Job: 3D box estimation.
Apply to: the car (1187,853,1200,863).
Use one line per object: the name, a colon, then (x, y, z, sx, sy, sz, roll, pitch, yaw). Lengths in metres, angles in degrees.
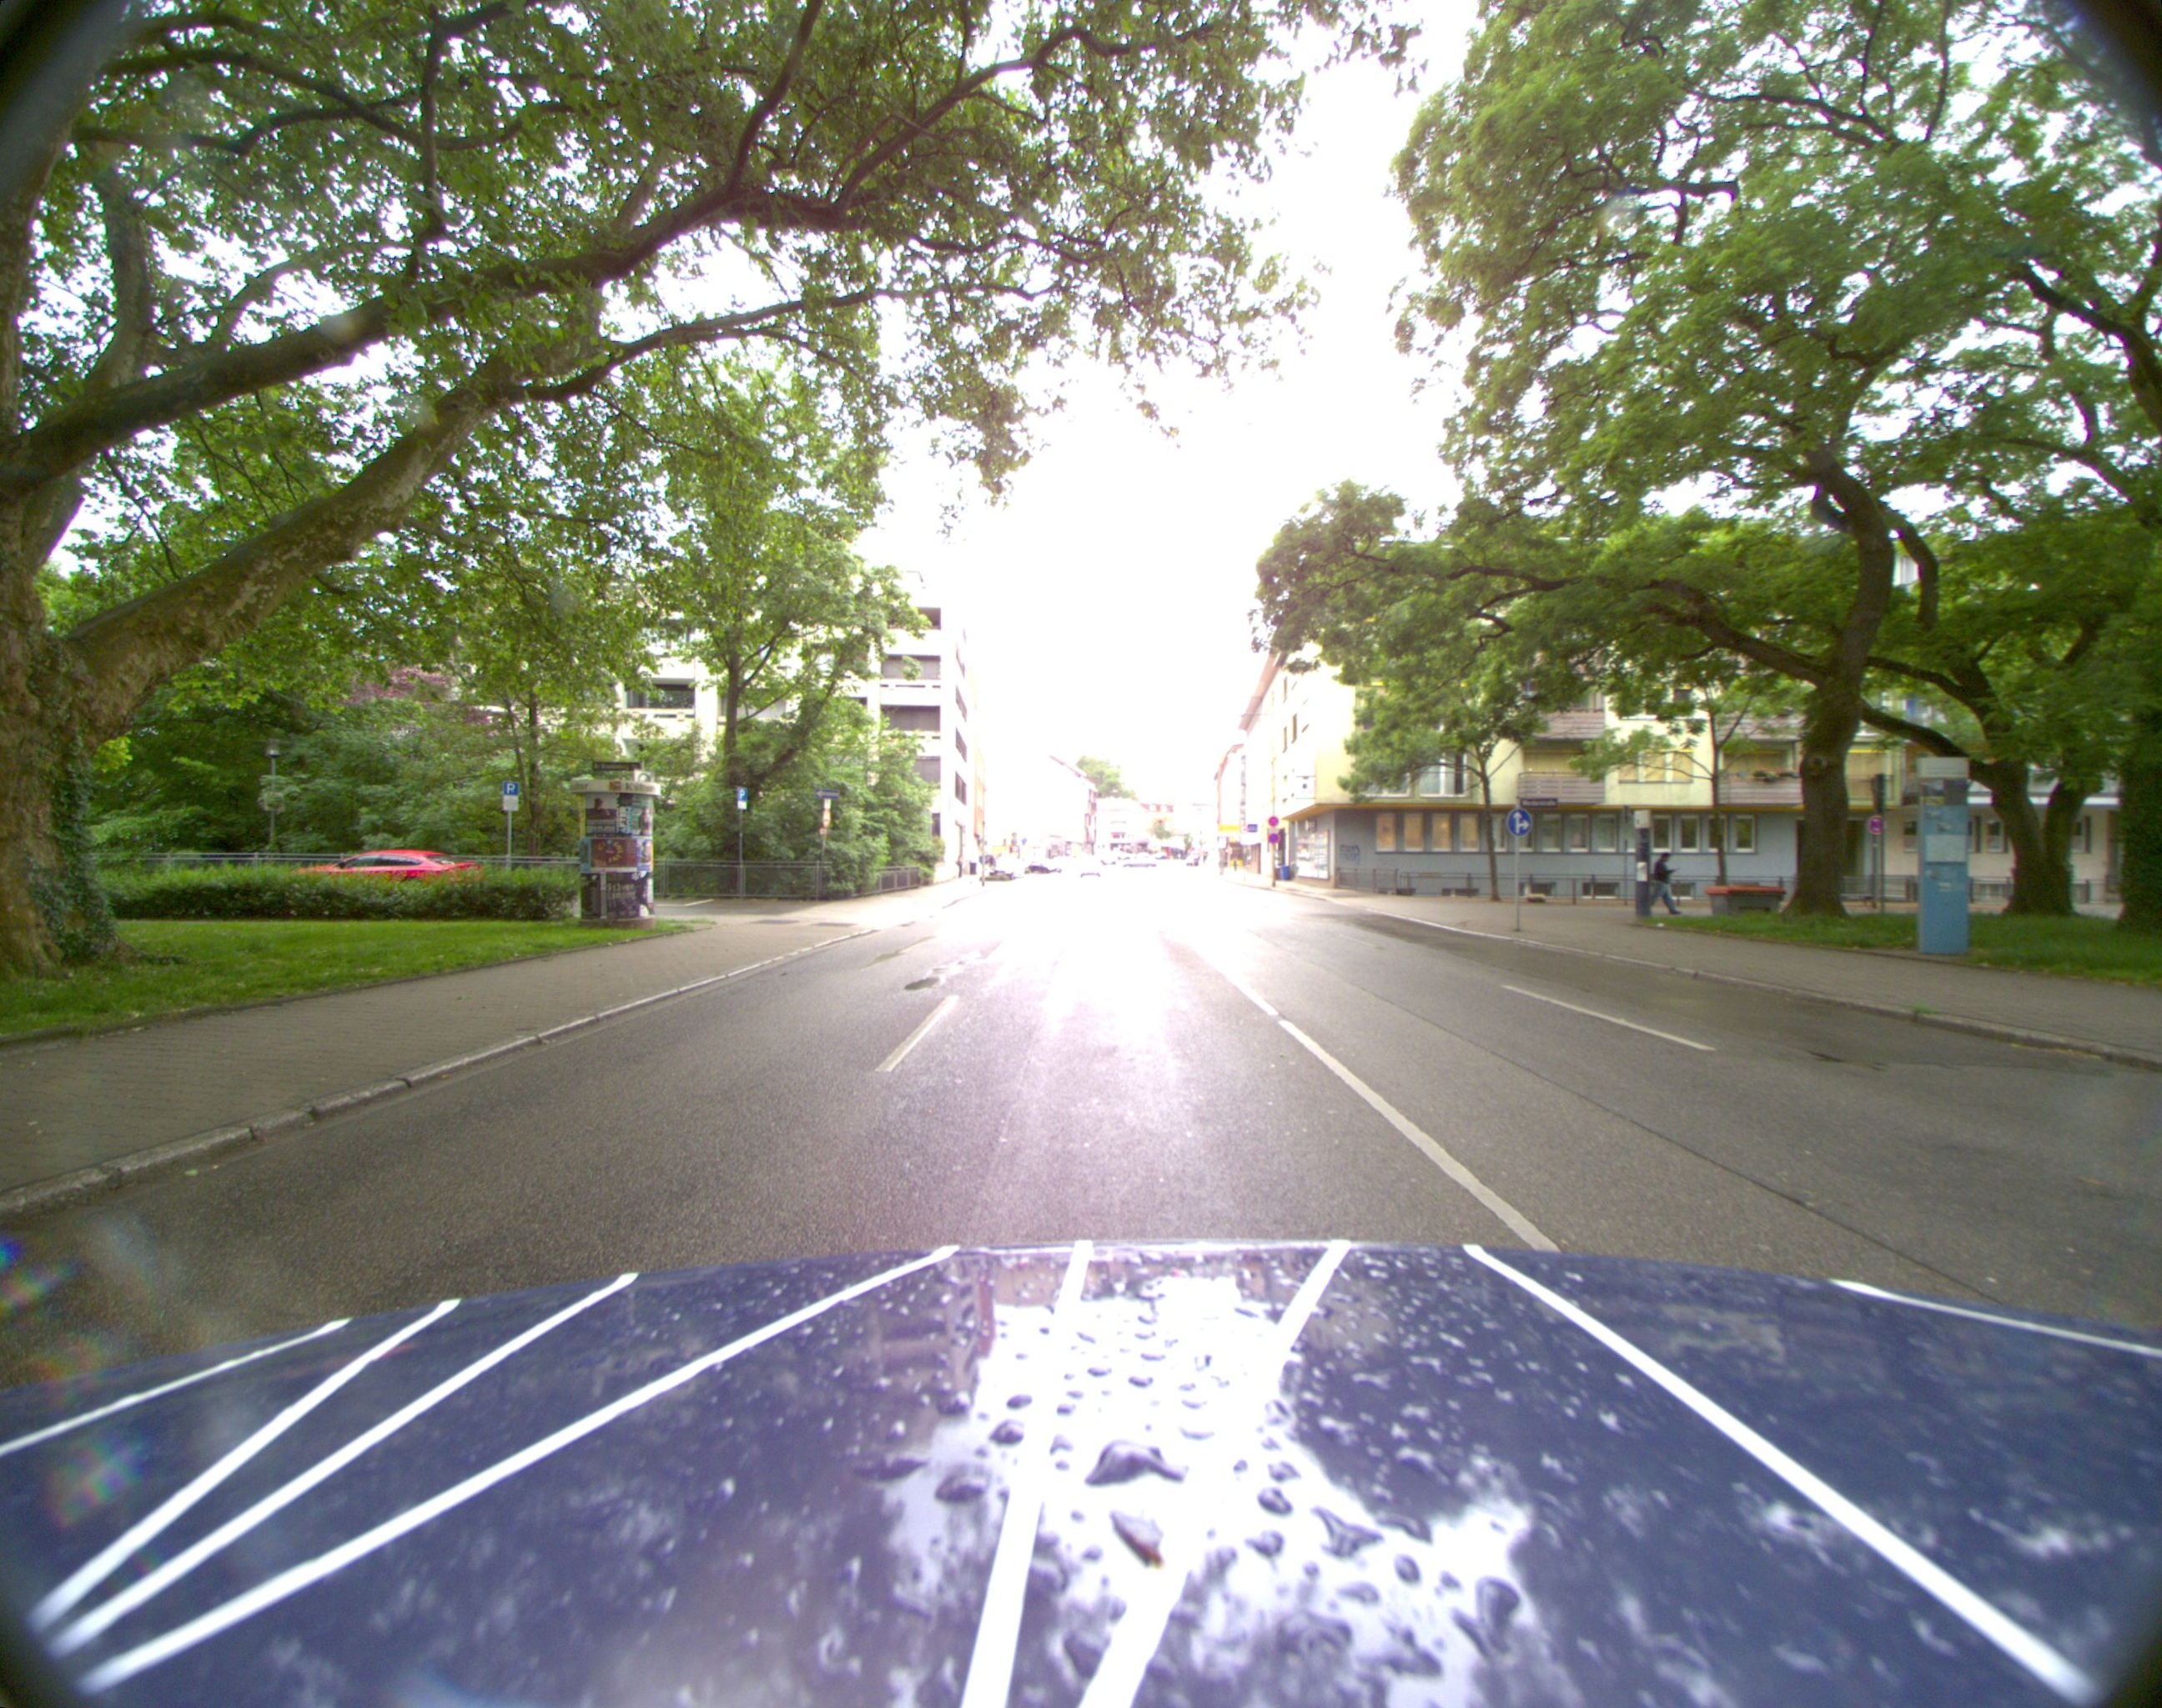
car: (17.967, 0.624, 121.376, 1.834, 1.612, 4.003, 0, 0, 10)

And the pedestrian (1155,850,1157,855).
pedestrian: (18.385, -0.409, 185.607, 0.379, 1.283, 0.401, 1, 1, 39)

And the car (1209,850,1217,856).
car: (33.620, -0.131, 193.267, 1.591, 1.518, 3.491, 0, 0, 14)

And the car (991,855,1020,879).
car: (-5.321, 0.876, 53.664, 1.706, 1.549, 3.804, 1, 0, -1)

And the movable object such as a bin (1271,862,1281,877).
movable object such as a bin: (13.004, 1.040, 50.630, 0.517, 0.994, 0.524, -4, 0, 8)

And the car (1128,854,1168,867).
car: (8.506, 0.835, 96.893, 4.964, 1.596, 1.563, 1, 0, 5)

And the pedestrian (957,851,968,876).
pedestrian: (-8.145, 0.646, 52.323, 0.599, 1.650, 0.691, 3, 0, -7)

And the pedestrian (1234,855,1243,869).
pedestrian: (17.111, 0.878, 82.753, 0.785, 1.578, 0.674, -2, 0, 21)

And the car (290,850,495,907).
car: (-19.561, 0.676, 21.751, 3.999, 1.473, 1.875, 1, 1, -5)

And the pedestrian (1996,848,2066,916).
pedestrian: (27.356, 0.789, 21.896, 0.918, 1.913, 0.820, 0, 1, 6)

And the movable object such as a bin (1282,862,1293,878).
movable object such as a bin: (13.100, 1.031, 48.192, 0.529, 0.955, 0.435, -4, 0, 8)

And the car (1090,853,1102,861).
car: (2.666, 0.480, 133.713, 1.736, 1.389, 3.744, 0, 0, 8)

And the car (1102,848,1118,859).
car: (4.855, -0.010, 125.160, 2.016, 1.754, 4.766, 1, 0, 9)

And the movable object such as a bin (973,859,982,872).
movable object such as a bin: (-8.561, 0.942, 62.805, 0.681, 1.097, 0.514, 0, 1, -1)

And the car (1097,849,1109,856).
car: (4.178, -0.274, 143.262, 1.736, 1.389, 3.744, 0, 0, 10)

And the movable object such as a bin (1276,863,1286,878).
movable object such as a bin: (12.956, 1.057, 49.284, 0.529, 0.922, 0.426, -4, 0, 8)

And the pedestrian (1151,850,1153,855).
pedestrian: (16.815, -0.345, 180.373, 0.379, 1.283, 0.401, 1, 1, 39)

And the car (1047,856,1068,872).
car: (-2.536, 1.075, 80.757, 1.758, 1.559, 3.997, -2, 0, -9)

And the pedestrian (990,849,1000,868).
pedestrian: (-9.411, 0.476, 83.134, 0.806, 2.140, 0.737, 0, 1, -23)

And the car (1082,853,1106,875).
car: (0.991, 0.758, 59.542, 1.756, 1.559, 4.000, -2, 0, 1)

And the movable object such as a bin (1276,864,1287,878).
movable object such as a bin: (12.859, 1.079, 48.752, 0.529, 0.890, 0.435, -4, 0, 8)

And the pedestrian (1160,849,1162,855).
pedestrian: (18.885, -0.419, 178.666, 0.379, 1.283, 0.401, 1, 1, 39)

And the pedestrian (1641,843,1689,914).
pedestrian: (16.737, 0.695, 21.793, 0.781, 2.002, 0.753, 0, 1, 6)

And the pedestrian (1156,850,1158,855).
pedestrian: (18.319, -0.433, 183.154, 0.379, 1.283, 0.401, 0, 1, 38)

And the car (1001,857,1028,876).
car: (-5.227, 0.932, 60.384, 1.835, 1.412, 4.569, 1, 0, -1)

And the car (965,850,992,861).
car: (-16.318, 0.223, 121.105, 3.783, 1.701, 1.842, 0, 0, 20)

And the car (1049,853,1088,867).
car: (-1.483, 0.732, 93.459, 4.687, 1.559, 1.758, -2, 0, 2)

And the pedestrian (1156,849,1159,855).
pedestrian: (18.041, -0.425, 178.990, 0.379, 1.283, 0.401, 1, 1, 40)

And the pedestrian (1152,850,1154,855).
pedestrian: (17.416, -0.408, 184.484, 0.379, 1.283, 0.401, 0, 1, 38)

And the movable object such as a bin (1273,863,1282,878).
movable object such as a bin: (12.918, 1.072, 49.843, 0.465, 0.922, 0.428, -4, 0, 8)

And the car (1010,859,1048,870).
car: (-6.397, 1.283, 93.609, 4.463, 1.377, 1.476, 0, 0, 1)

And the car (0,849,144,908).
car: (-29.539, 0.671, 21.402, 3.932, 1.561, 1.735, 1, 0, -4)
